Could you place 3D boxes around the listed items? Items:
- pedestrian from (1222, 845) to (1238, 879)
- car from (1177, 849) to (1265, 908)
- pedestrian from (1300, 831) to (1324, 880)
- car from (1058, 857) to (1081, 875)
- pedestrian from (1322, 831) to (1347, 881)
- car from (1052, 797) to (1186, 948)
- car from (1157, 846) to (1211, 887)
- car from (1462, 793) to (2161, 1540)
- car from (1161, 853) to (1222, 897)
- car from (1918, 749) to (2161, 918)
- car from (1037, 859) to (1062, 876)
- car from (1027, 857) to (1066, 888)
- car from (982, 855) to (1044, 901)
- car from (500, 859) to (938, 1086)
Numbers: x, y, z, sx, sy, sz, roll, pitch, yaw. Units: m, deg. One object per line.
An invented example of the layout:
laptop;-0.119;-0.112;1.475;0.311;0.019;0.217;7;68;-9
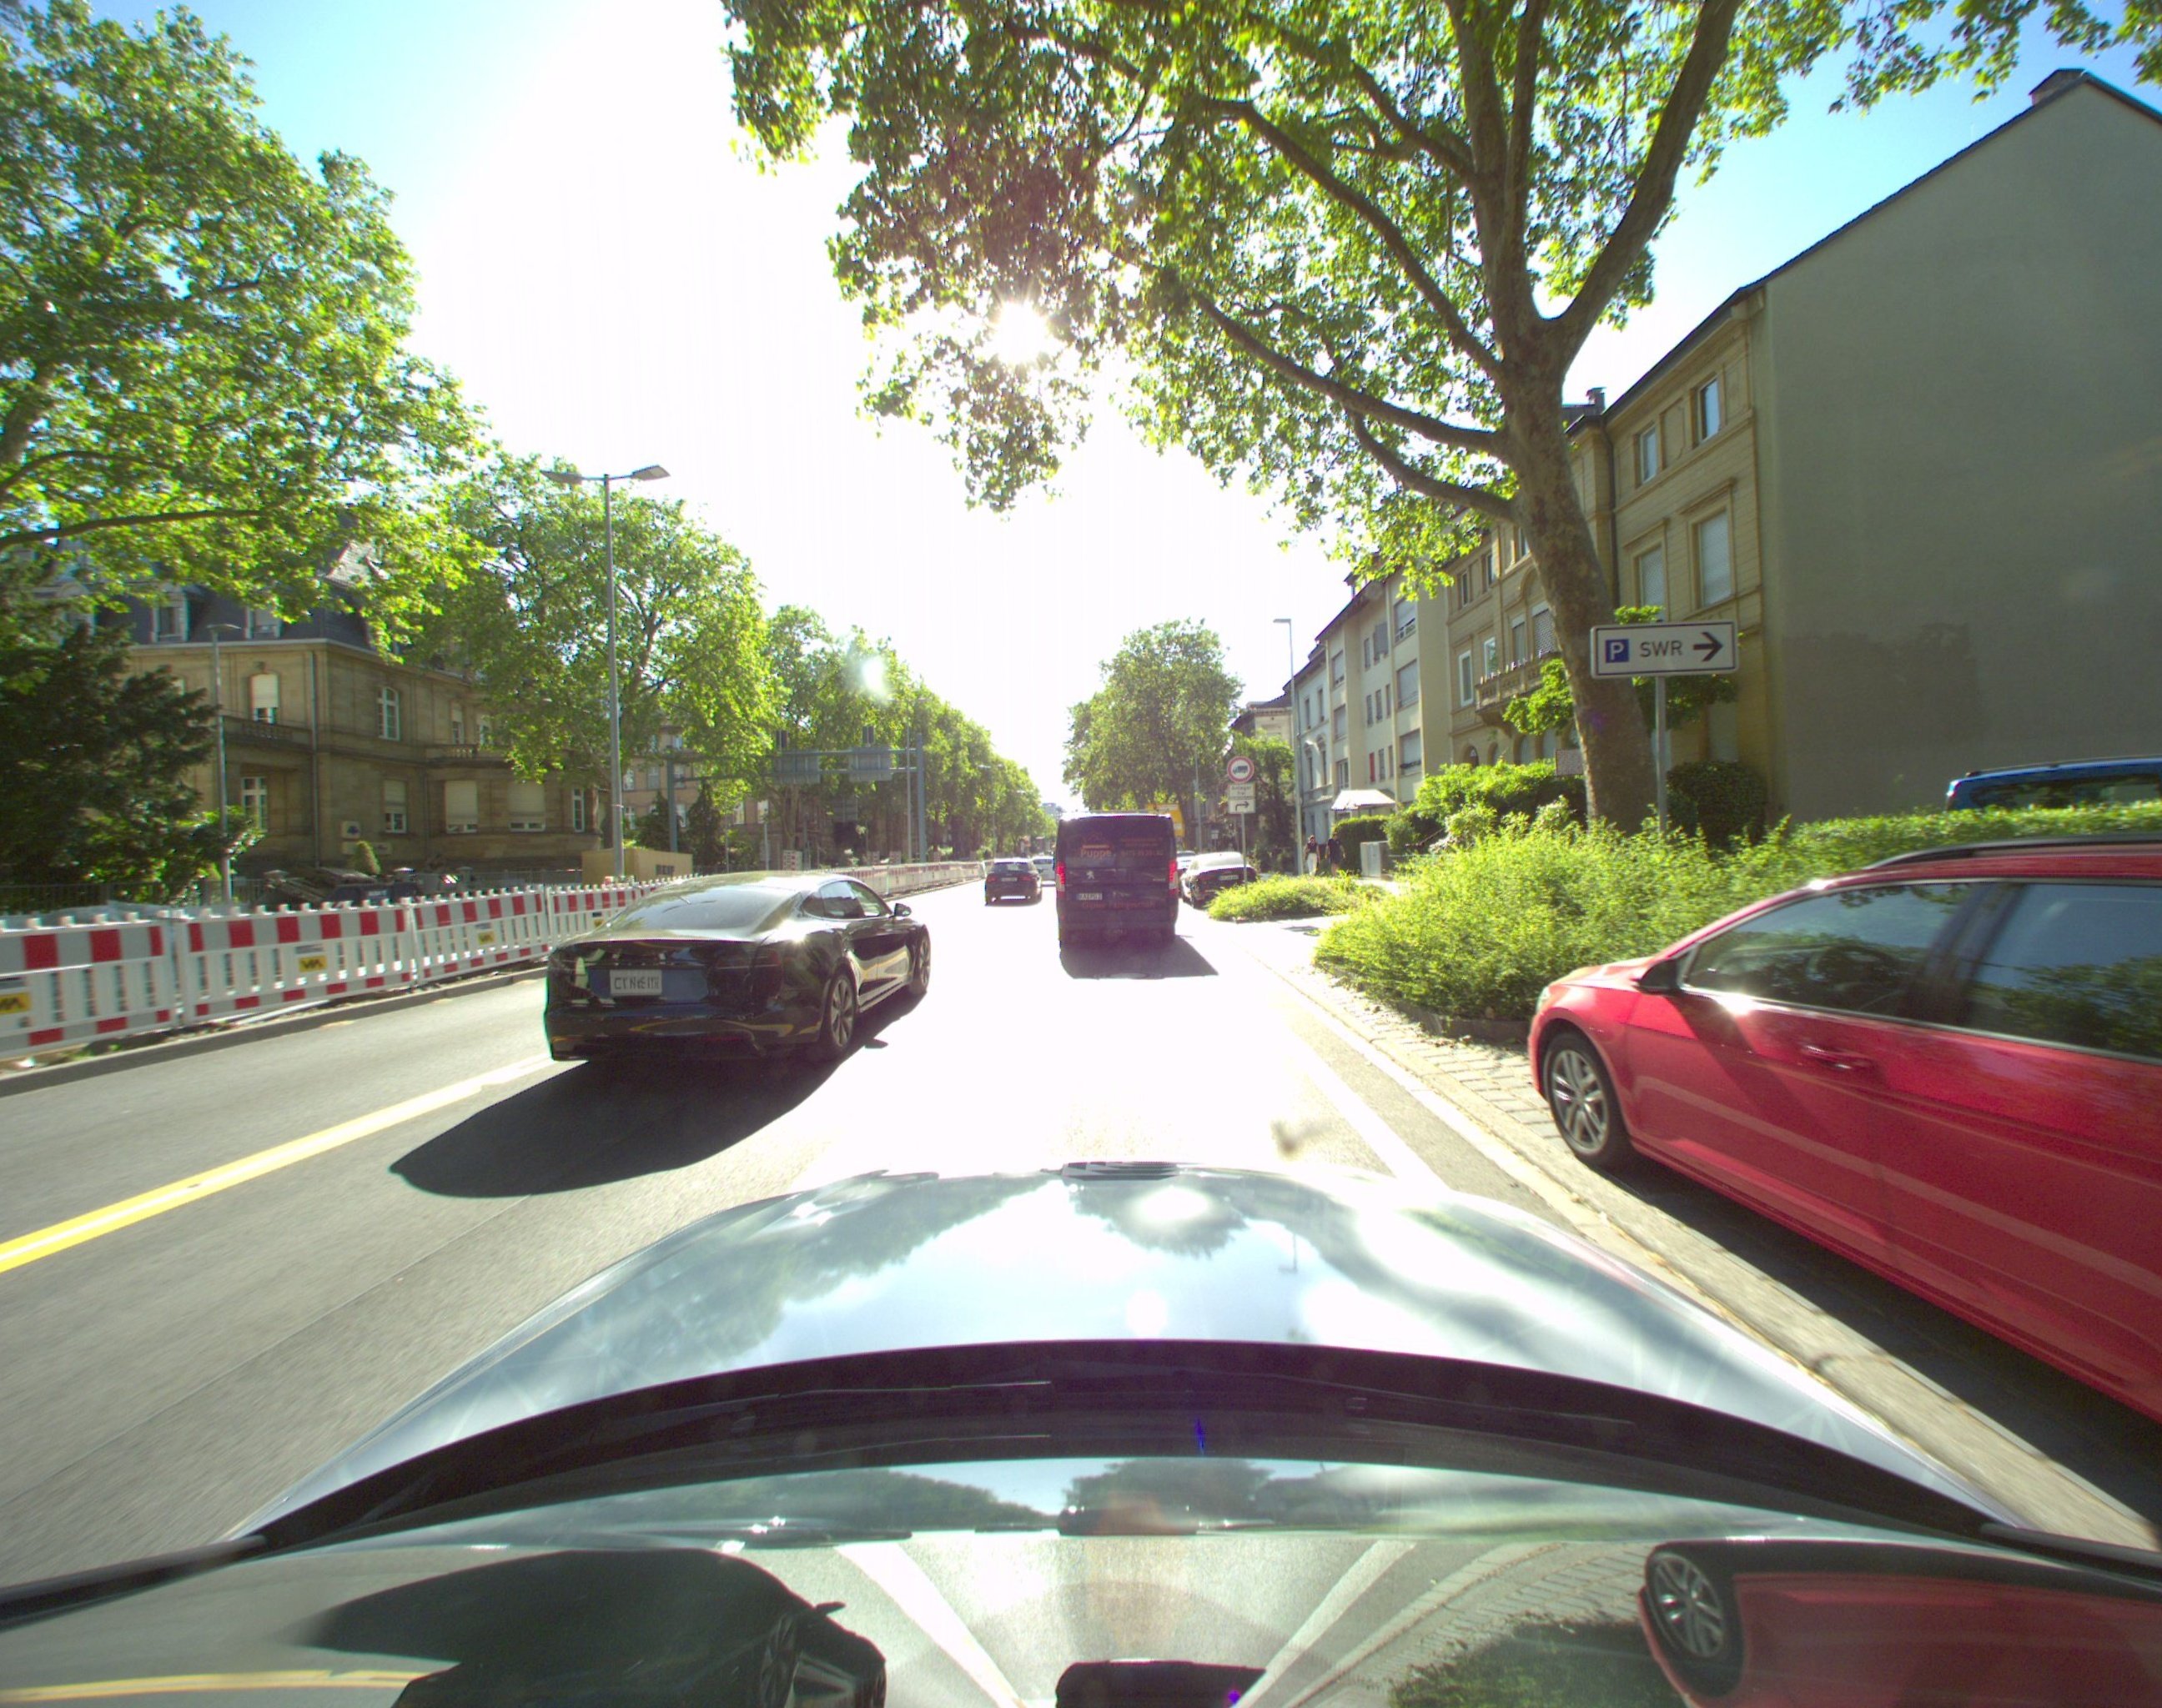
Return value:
pedestrian;8.931;0.474;48.858;0.794;2.013;1.170;-3;-1;6
car;3.882;0.647;23.273;1.837;1.442;4.489;-3;0;2
pedestrian;8.415;0.057;29.700;0.671;1.755;0.877;-3;-1;11
car;-0.808;0.857;58.114;1.415;1.225;3.440;-2;-1;3
pedestrian;9.192;0.057;29.551;0.649;1.755;1.016;-3;-1;11
car;0.632;0.279;14.967;2.088;2.355;3.933;-1;0;1
car;4.506;0.539;36.226;1.838;1.644;3.800;-4;0;0
car;3.086;0.592;2.412;1.814;1.507;4.679;-3;-1;2
car;3.922;0.711;29.446;1.836;1.408;3.804;-3;0;4
car;12.470;-0.232;9.496;1.715;1.853;3.473;-1;0;-31
car;-2.901;1.201;76.249;1.985;1.470;4.003;-1;1;2
car;-1.710;0.898;41.317;1.541;1.425;3.559;-2;-1;4
car;-2.229;0.772;27.489;1.740;1.407;3.999;-1;0;0
car;-2.741;0.774;7.555;1.918;1.412;4.626;0;0;1
